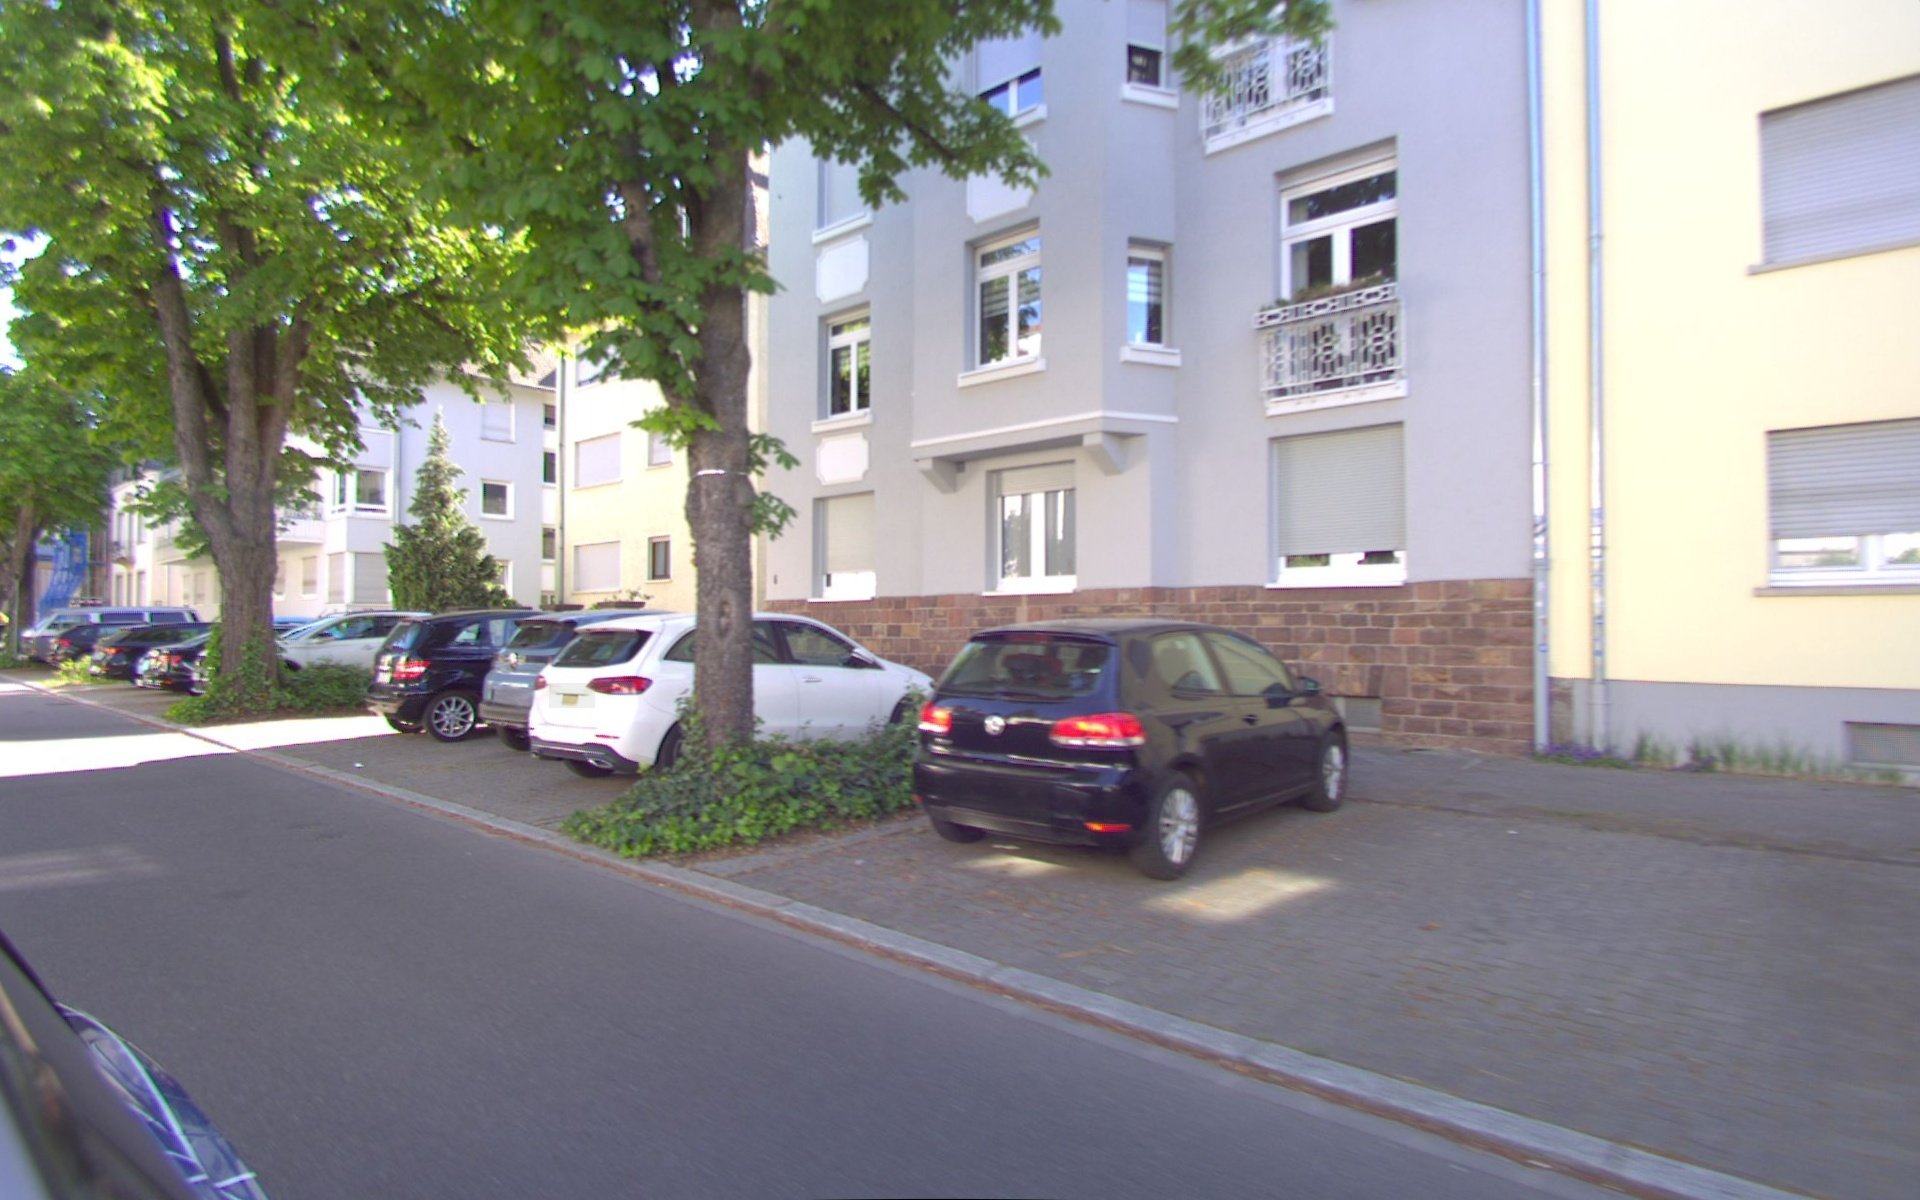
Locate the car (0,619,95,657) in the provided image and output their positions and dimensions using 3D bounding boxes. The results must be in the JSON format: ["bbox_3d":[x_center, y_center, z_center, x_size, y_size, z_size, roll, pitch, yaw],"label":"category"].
[{"bbox_3d":[-41.407,1.658,44.722,1.831,1.619,4.545,-1,-2,38],"label":"car"}]

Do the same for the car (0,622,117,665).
[{"bbox_3d":[-34.138,1.602,38.020,1.710,1.474,3.604,-1,0,43],"label":"car"}]

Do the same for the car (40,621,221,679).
[{"bbox_3d":[-24.154,1.405,29.562,1.662,1.510,3.902,-1,-1,43],"label":"car"}]

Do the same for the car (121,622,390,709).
[{"bbox_3d":[-13.425,1.189,19.469,1.696,1.479,3.946,-1,-2,40],"label":"car"}]

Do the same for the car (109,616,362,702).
[{"bbox_3d":[-15.020,1.176,21.151,1.876,1.604,3.947,-1,-2,39],"label":"car"}]

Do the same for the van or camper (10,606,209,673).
[{"bbox_3d":[-26.226,1.182,31.332,1.963,1.929,4.450,-1,-2,41],"label":"van or camper"}]

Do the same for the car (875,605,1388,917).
[{"bbox_3d":[1.443,0.797,7.075,1.798,1.455,3.982,0,1,40],"label":"car"}]

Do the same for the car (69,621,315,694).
[{"bbox_3d":[-17.389,1.246,23.068,1.860,1.510,4.144,-1,-2,40],"label":"car"}]

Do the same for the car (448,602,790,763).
[{"bbox_3d":[-3.906,0.844,12.037,1.767,1.587,3.484,-1,-1,36],"label":"car"}]

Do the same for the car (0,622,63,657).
[{"bbox_3d":[-44.523,1.845,47.061,1.827,1.525,3.841,-1,1,32],"label":"car"}]

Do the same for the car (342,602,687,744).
[{"bbox_3d":[-5.849,0.855,13.569,1.848,1.587,3.820,-2,-1,44],"label":"car"}]

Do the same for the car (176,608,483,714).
[{"bbox_3d":[-11.142,1.005,18.136,1.823,1.665,4.339,-1,-2,42],"label":"car"}]

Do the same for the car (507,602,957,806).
[{"bbox_3d":[-2.010,0.813,9.841,1.805,1.496,3.982,-1,0,40],"label":"car"}]
